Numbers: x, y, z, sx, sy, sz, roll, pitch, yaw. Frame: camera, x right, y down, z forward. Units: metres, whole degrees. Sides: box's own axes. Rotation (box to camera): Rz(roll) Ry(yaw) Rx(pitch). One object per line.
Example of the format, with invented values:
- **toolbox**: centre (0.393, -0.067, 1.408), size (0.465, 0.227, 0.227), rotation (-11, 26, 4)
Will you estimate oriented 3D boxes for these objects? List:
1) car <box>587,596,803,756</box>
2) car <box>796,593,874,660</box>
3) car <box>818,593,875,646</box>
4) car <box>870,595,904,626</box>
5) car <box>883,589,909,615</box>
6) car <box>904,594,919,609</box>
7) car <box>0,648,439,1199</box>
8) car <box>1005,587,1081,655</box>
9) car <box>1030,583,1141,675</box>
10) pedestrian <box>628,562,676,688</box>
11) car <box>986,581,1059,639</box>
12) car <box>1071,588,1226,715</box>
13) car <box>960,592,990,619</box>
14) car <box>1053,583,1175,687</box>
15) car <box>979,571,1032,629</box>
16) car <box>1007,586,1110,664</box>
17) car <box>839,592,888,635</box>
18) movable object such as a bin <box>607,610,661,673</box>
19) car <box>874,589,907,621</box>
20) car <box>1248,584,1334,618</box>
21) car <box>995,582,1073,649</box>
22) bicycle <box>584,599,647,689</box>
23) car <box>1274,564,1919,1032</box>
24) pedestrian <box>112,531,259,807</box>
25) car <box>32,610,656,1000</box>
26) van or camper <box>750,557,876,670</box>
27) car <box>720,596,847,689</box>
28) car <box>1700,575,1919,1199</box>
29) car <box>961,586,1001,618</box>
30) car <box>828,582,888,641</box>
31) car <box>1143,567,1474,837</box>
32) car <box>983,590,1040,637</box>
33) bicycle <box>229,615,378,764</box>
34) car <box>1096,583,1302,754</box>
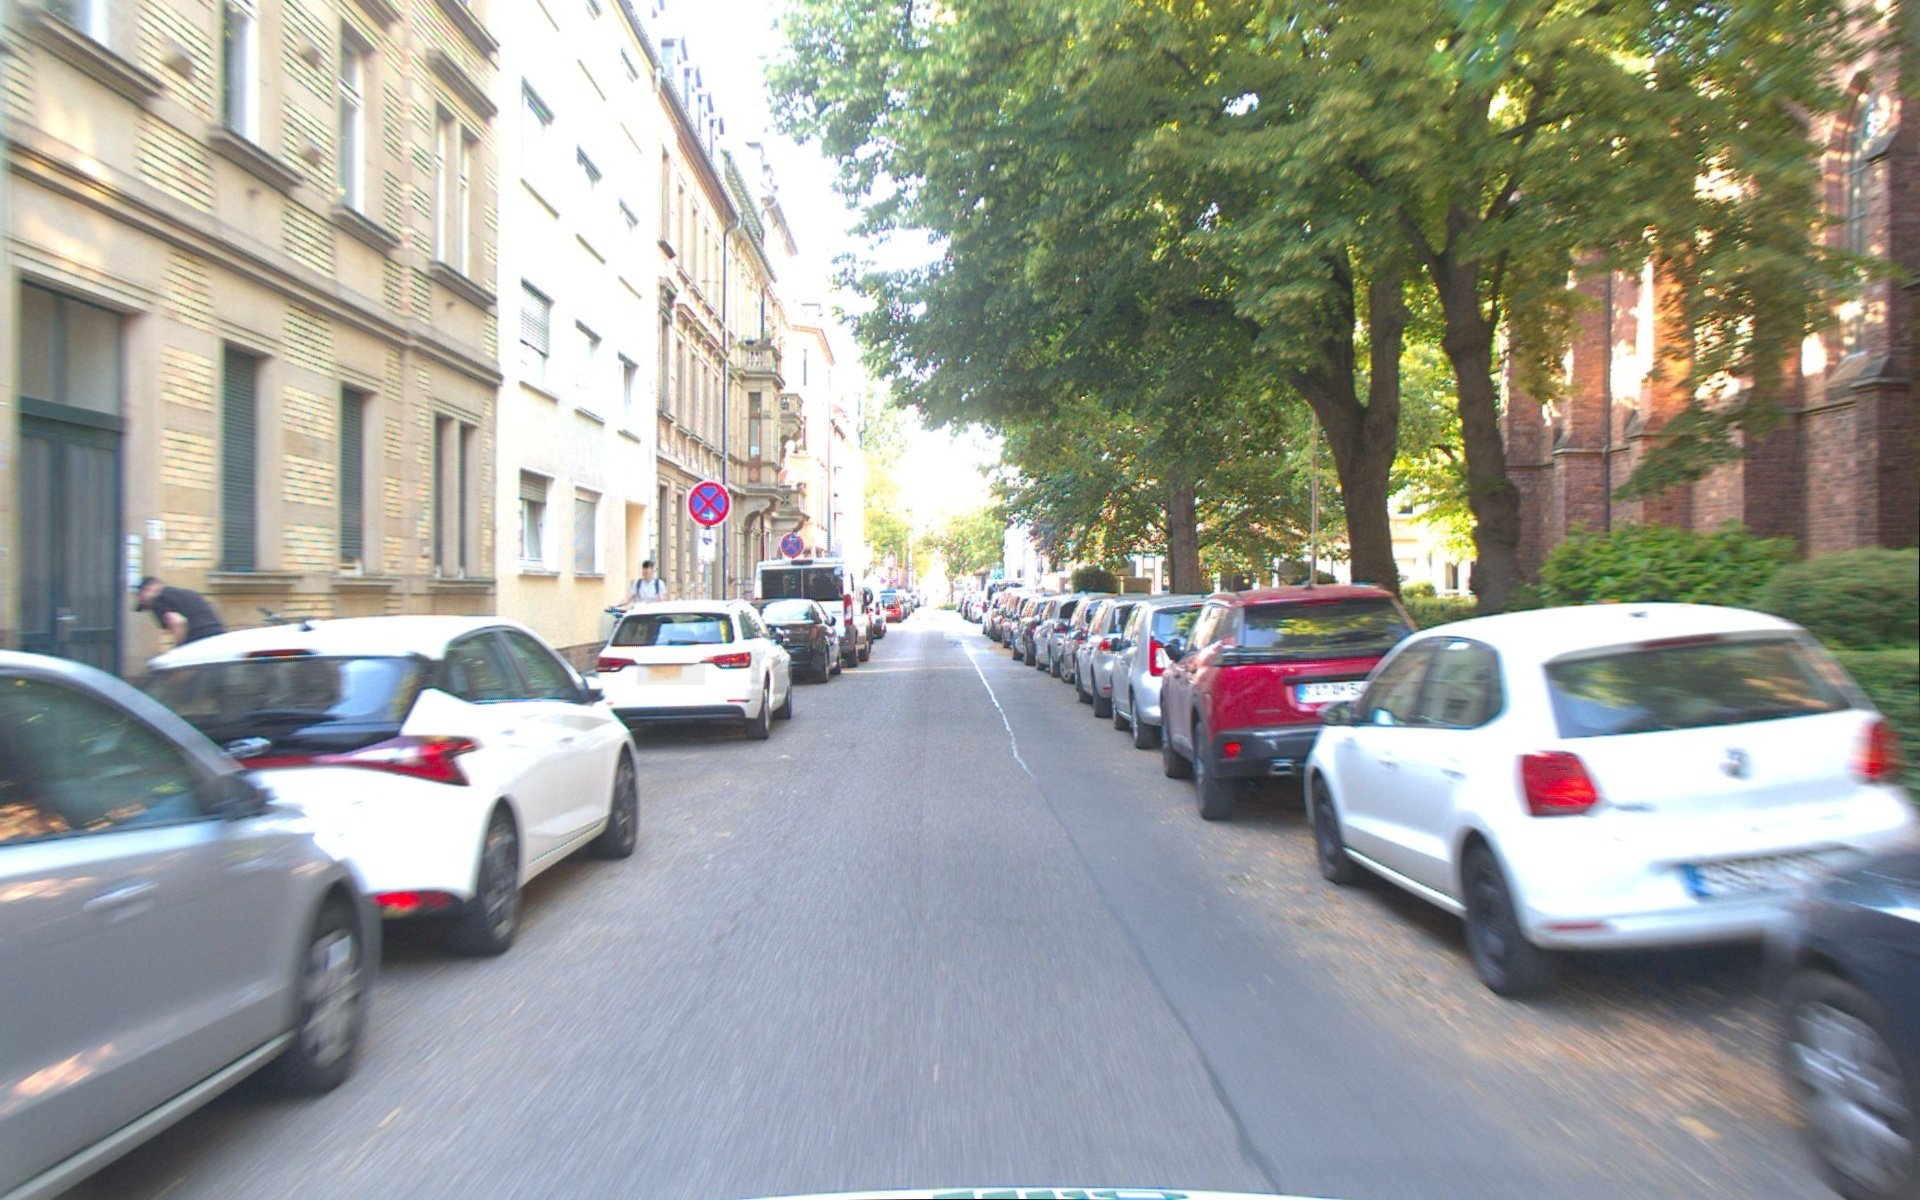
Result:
- **car**: centre (-2.809, 0.739, 18.440), size (1.696, 1.481, 4.520), rotation (-2, 0, -1)
- **car**: centre (-3.122, 0.630, 41.932), size (1.731, 1.540, 4.192), rotation (-2, 0, -2)
- **car**: centre (-3.543, 0.581, 51.658), size (1.659, 1.540, 3.970), rotation (-2, 0, -4)
- **car**: centre (-3.768, 0.510, 85.693), size (1.595, 1.507, 3.600), rotation (-2, 0, -2)
- **car**: centre (-4.612, 0.133, 119.954), size (1.729, 1.816, 4.038), rotation (-2, 0, -2)
- **car**: centre (-5.263, 0.120, 179.473), size (1.642, 1.513, 4.093), rotation (-2, 0, -2)
- **car**: centre (-2.699, 0.919, 3.910), size (1.674, 1.441, 3.803), rotation (-2, 0, 0)
- **car**: centre (2.094, 0.526, 42.436), size (1.586, 1.512, 3.775), rotation (-5, 0, -1)
- **car**: centre (2.347, 0.533, 31.647), size (1.568, 1.531, 3.626), rotation (-5, 0, -3)
- **pedestrian**: centre (-4.637, 0.365, 24.954), size (0.478, 1.834, 1.114), rotation (2, 0, -2)
- **car**: centre (1.944, 0.324, 52.874), size (1.706, 1.630, 4.259), rotation (-5, 0, -5)
- **car**: centre (2.447, 0.641, 22.251), size (1.566, 1.496, 3.869), rotation (-3, 0, 0)
- **car**: centre (0.890, 0.340, 100.644), size (1.642, 1.533, 3.936), rotation (-2, 0, -2)
- **car**: centre (2.505, 0.555, 27.602), size (1.567, 1.493, 3.563), rotation (-5, 0, 0)
- **car**: centre (1.729, -0.024, 63.061), size (1.875, 2.033, 4.792), rotation (-2, 0, 1)
- **car**: centre (2.083, 0.532, 36.194), size (1.642, 1.466, 4.692), rotation (-5, 0, -3)
- **car**: centre (-3.589, 0.473, 61.926), size (1.658, 1.507, 3.972), rotation (-2, 0, -2)
- **movable object such as a bin**: centre (-5.840, 0.740, 29.632), size (0.819, 1.107, 0.675), rotation (0, -1, 2)
- **car**: centre (-4.213, 0.258, 100.798), size (1.707, 1.842, 4.672), rotation (-2, 0, 1)
- **car**: centre (15.268, 0.049, 76.412), size (3.773, 1.499, 1.634), rotation (0, -2, 6)
- **car**: centre (2.030, 0.431, 46.422), size (1.588, 1.652, 3.859), rotation (-5, 0, -5)
- **bicycle**: centre (-5.166, 0.638, 24.883), size (0.559, 1.265, 1.844), rotation (3, 0, -2)
- **car**: centre (2.836, 0.720, 7.948), size (1.631, 1.546, 3.949), rotation (-5, 0, -3)
- **pedestrian**: centre (-5.685, 0.491, 12.174), size (0.751, 1.962, 0.763), rotation (0, 0, -5)
- **car**: centre (-2.750, 0.809, 8.351), size (1.674, 1.441, 3.803), rotation (-2, 0, 0)
- **van or camper**: centre (-3.073, 0.254, 35.628), size (2.132, 2.185, 5.154), rotation (-2, 0, 1)
- **car**: centre (-3.041, 0.692, 29.261), size (1.695, 1.426, 4.315), rotation (-2, 0, 1)
- **car**: centre (3.091, 0.672, 2.930), size (1.630, 1.546, 4.060), rotation (-5, 0, 0)
- **car**: centre (1.049, 0.105, 85.521), size (1.709, 1.533, 4.354), rotation (-2, 0, -4)
- **car**: centre (-3.435, 0.364, 56.451), size (1.794, 1.843, 4.571), rotation (-2, 0, -1)
- **car**: centre (2.480, 0.666, 12.760), size (1.630, 1.613, 4.101), rotation (-5, 0, 1)
- **car**: centre (1.771, 0.449, 57.900), size (1.684, 1.598, 3.826), rotation (0, 0, -3)
- **bicycle**: centre (-5.692, 0.742, 14.447), size (0.559, 1.168, 1.844), rotation (3, 0, -2)
- **car**: centre (2.477, 0.674, 17.946), size (1.567, 1.531, 3.720), rotation (-5, 0, 0)
